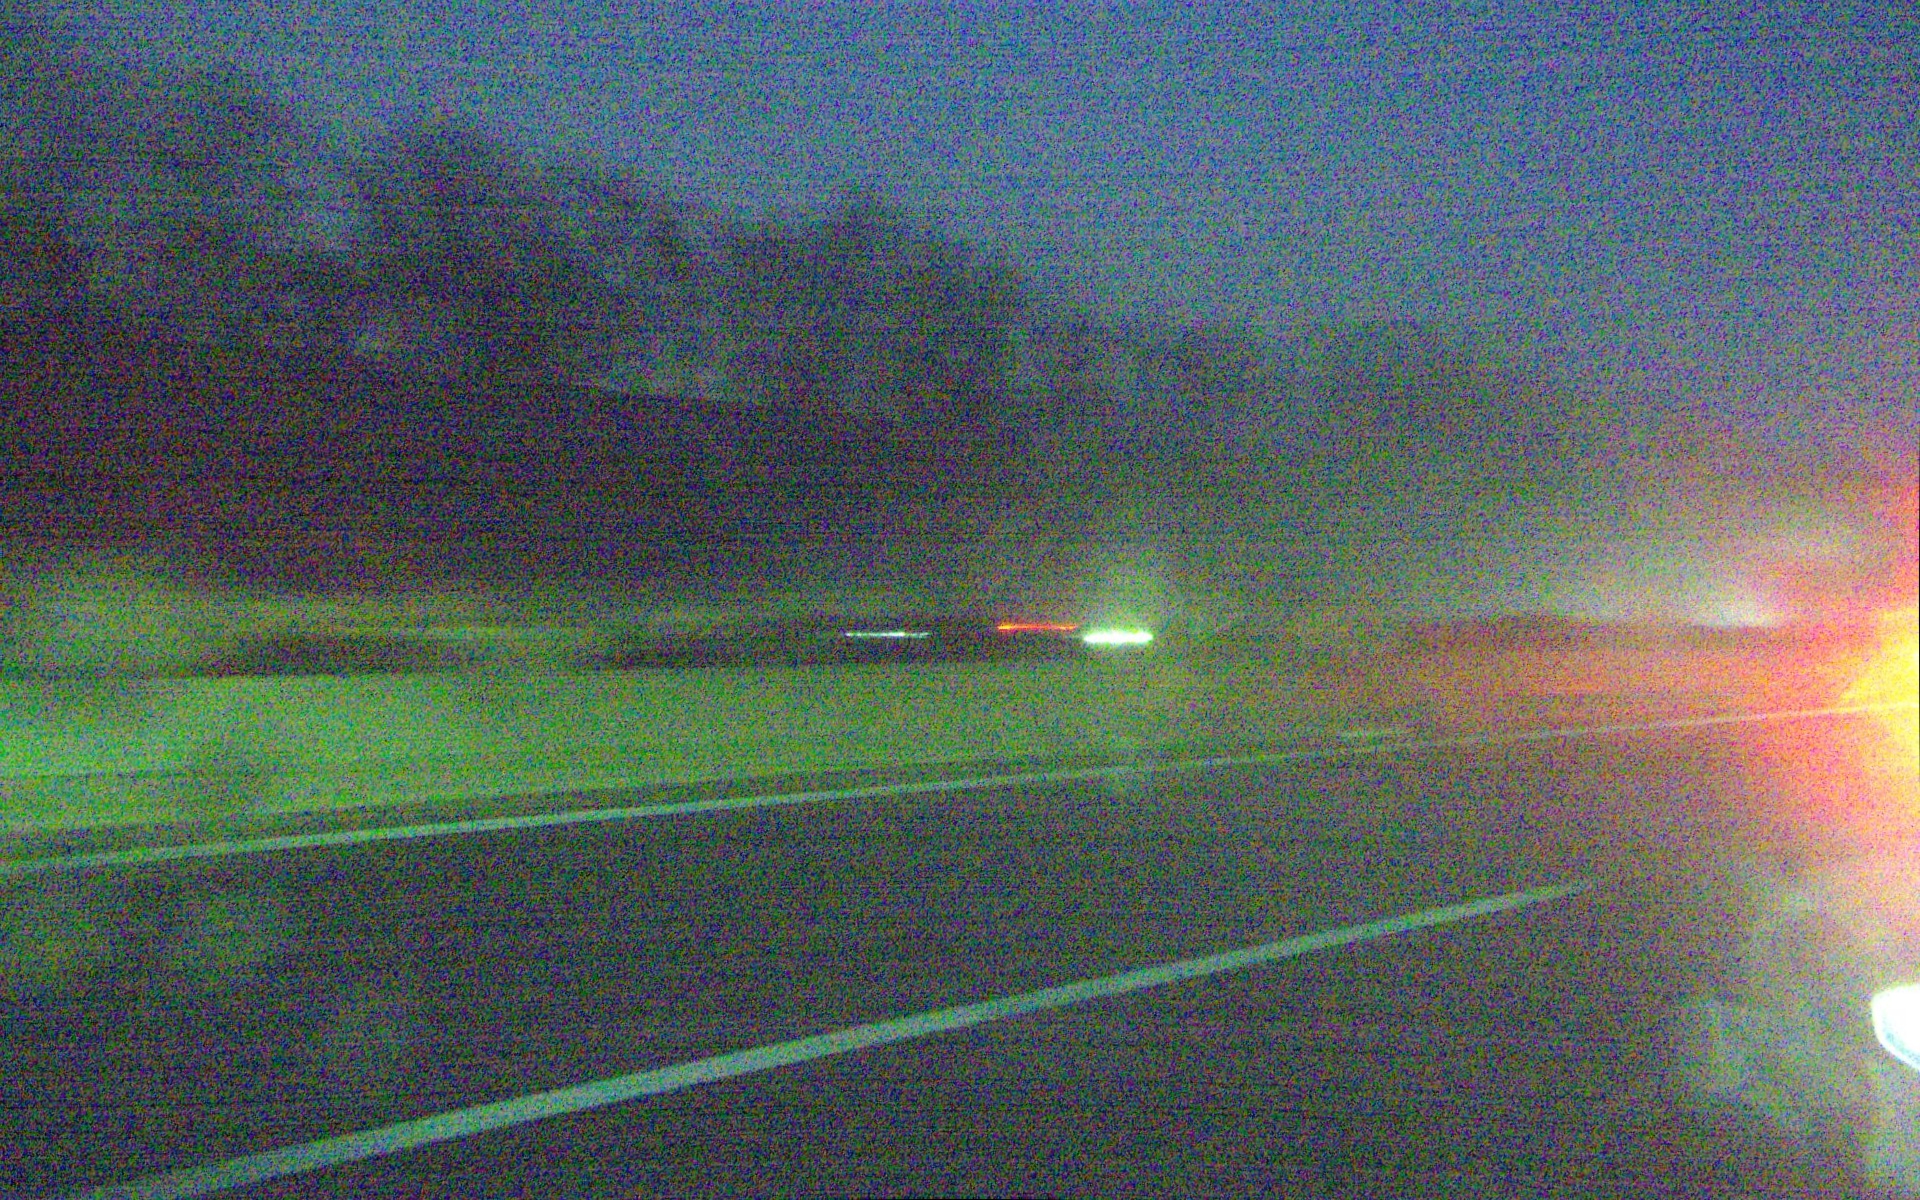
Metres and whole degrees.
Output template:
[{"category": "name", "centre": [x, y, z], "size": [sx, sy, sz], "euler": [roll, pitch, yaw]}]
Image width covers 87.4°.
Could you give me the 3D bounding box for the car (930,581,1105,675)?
[{"category": "car", "centre": [1.429, 0.690, 24.733], "size": [3.904, 2.157, 1.784], "euler": [2, 0, -30]}]
